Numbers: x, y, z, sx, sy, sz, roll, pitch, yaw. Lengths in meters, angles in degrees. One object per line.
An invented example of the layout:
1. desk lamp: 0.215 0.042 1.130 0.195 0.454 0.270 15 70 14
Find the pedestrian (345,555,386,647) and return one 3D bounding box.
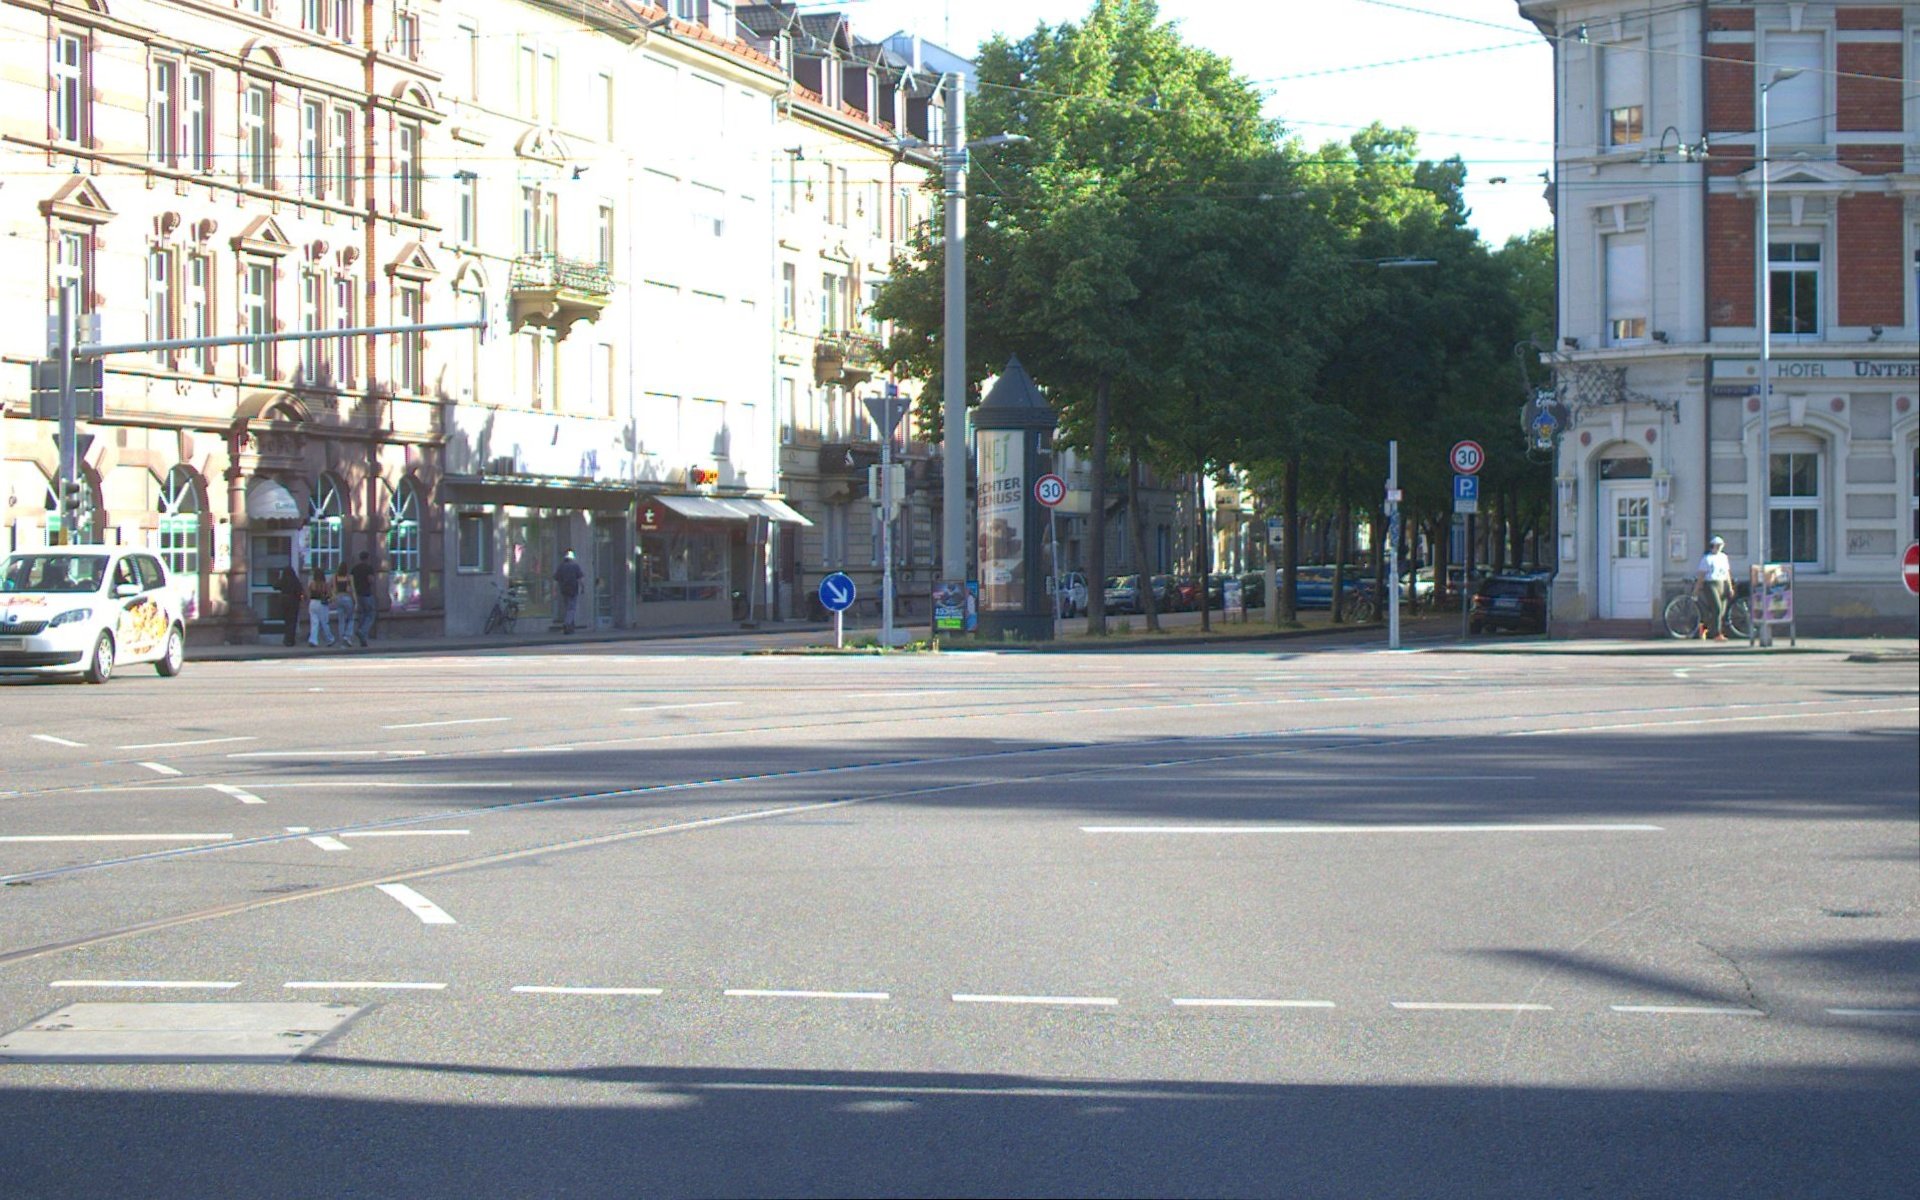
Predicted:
1. pedestrian: -11.863 0.019 68.631 0.580 1.830 0.632 0 1 16

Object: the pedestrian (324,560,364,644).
1. pedestrian: -12.081 0.043 67.460 0.551 1.636 0.632 0 1 15

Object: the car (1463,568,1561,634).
1. car: 13.264 0.002 82.420 1.995 1.492 4.031 0 1 14

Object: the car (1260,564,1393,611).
1. car: 12.316 -0.417 115.670 3.993 1.540 1.997 0 1 28

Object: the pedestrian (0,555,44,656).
1. pedestrian: -15.368 0.088 55.943 0.675 1.636 0.578 0 1 13

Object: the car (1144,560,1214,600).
1. car: 8.428 -0.786 131.902 1.995 1.492 4.031 0 1 14

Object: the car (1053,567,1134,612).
1. car: 4.580 -0.371 117.365 1.995 1.492 4.031 0 1 14

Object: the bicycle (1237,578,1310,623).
1. bicycle: 7.542 0.008 82.763 0.582 1.063 1.949 -1 1 -37

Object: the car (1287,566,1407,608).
1. car: 14.439 -0.490 128.310 3.993 1.540 1.997 0 1 28

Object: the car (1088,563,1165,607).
1. car: 5.972 -0.541 122.600 1.995 1.492 4.031 0 1 14

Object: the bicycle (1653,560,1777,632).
1. bicycle: 12.549 -0.072 57.180 1.961 1.186 0.546 0 1 5

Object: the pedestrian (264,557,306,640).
1. pedestrian: -13.258 -0.033 67.521 0.627 1.636 0.537 0 1 13

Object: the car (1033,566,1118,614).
1. car: 3.803 -0.337 112.879 1.995 1.492 4.031 0 1 14

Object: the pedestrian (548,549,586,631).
1. pedestrian: -9.168 -0.233 80.232 0.682 1.902 0.632 0 1 16

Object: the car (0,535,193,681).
1. car: -9.696 0.052 37.146 1.718 1.492 3.583 0 1 5

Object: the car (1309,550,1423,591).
1. car: 15.882 -1.157 134.438 3.993 1.540 1.997 0 1 28

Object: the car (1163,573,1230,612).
1. car: 9.408 -0.311 136.537 1.995 1.492 4.031 0 1 14

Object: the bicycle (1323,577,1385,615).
1. bicycle: 11.373 -0.128 99.255 0.582 1.063 1.949 -1 1 -37

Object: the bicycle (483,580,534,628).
1. bicycle: -10.436 0.090 79.560 0.495 1.063 1.768 0 1 16

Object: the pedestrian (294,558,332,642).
1. pedestrian: -12.695 0.004 67.465 0.551 1.636 0.537 0 1 14

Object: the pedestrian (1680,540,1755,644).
1. pedestrian: 12.229 -0.130 55.525 0.716 1.664 0.939 -1 1 -45

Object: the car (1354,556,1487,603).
1. car: 15.598 -0.691 116.529 3.994 1.540 1.997 0 1 31
